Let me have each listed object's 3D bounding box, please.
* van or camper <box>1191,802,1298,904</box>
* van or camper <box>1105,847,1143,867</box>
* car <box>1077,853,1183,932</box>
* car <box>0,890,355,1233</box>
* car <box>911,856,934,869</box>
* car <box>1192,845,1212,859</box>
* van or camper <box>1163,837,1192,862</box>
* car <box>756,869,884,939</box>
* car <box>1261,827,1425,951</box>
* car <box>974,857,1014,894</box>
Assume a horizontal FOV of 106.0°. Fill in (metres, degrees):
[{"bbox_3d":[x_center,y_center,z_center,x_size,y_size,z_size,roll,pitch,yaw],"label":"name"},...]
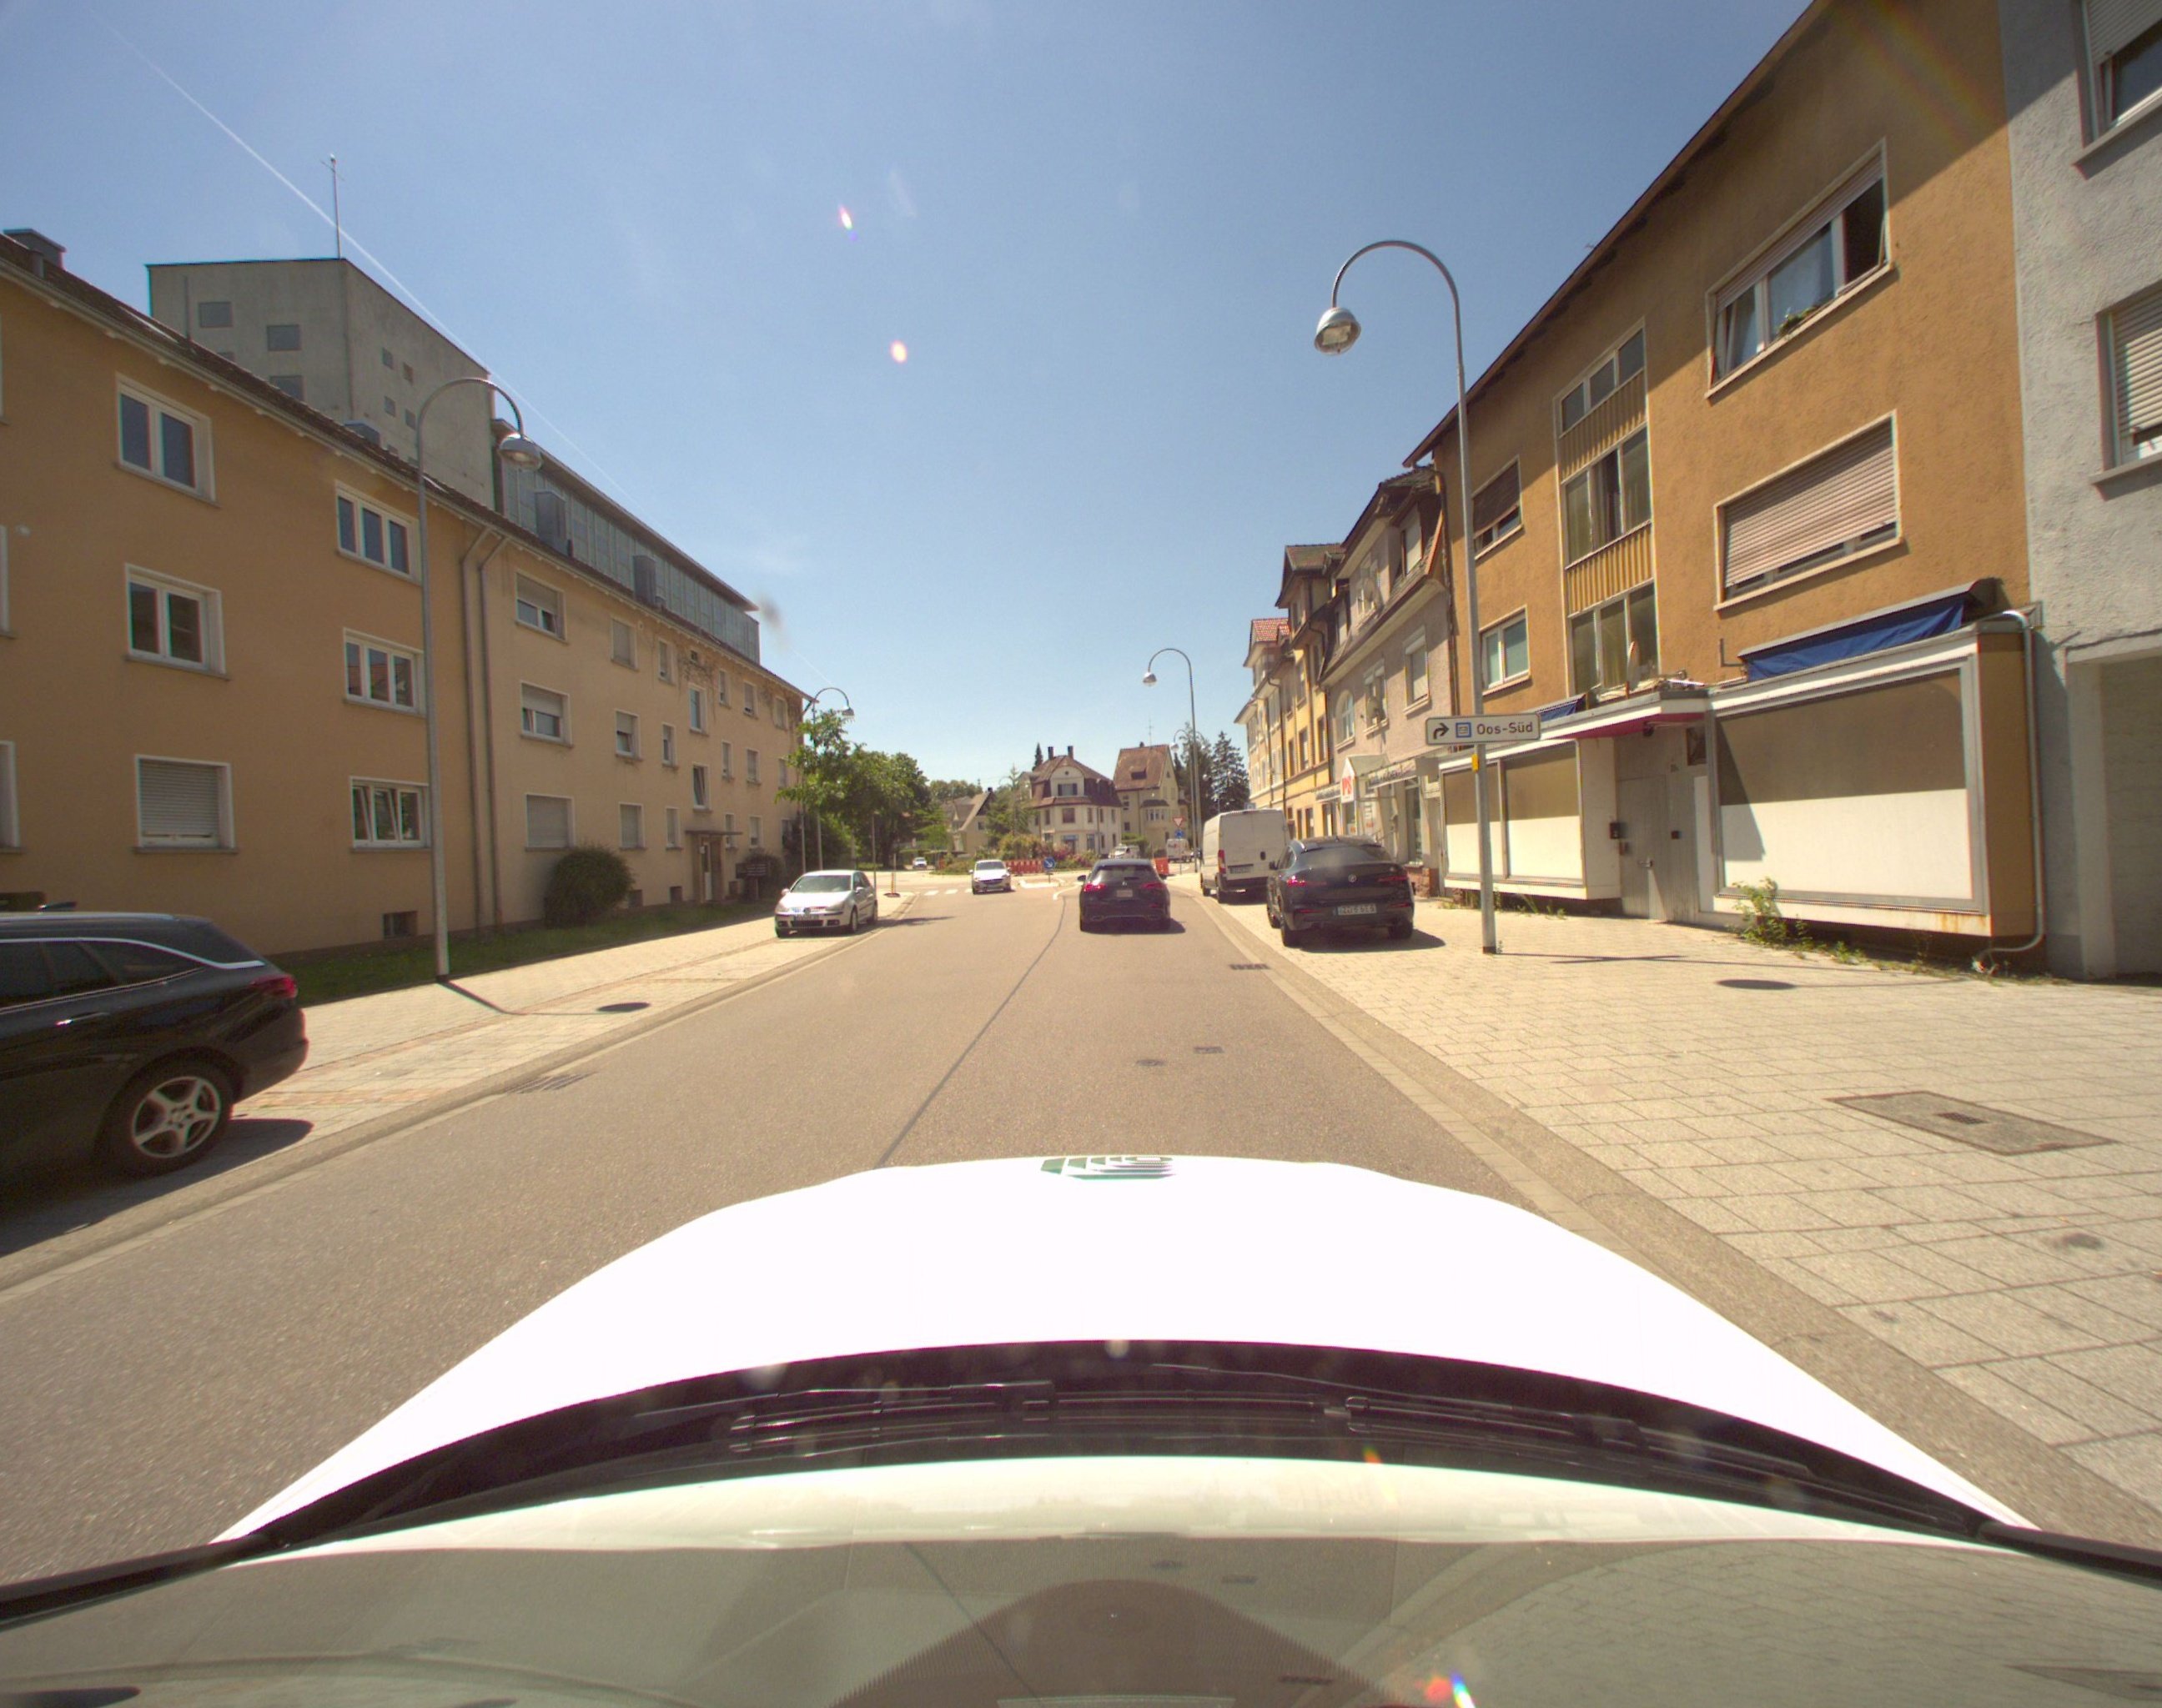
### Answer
[{"bbox_3d":[4.787,-0.028,24.739,2.156,2.588,5.769,-4,0,2],"label":"van or camper"},{"bbox_3d":[4.883,0.338,90.609,1.974,2.172,5.446,-1,-1,29],"label":"van or camper"},{"bbox_3d":[0.970,0.744,17.329,1.946,1.427,4.001,-2,-1,1],"label":"car"},{"bbox_3d":[-5.982,1.034,3.374,1.851,1.506,4.561,-1,0,-1],"label":"car"},{"bbox_3d":[-21.720,1.164,111.647,1.773,1.597,3.932,-2,-2,11],"label":"car"},{"bbox_3d":[16.581,-0.291,111.411,1.904,1.772,4.021,-1,0,20],"label":"car"},{"bbox_3d":[10.510,-0.491,88.296,2.187,2.610,4.020,-2,0,19],"label":"van or camper"},{"bbox_3d":[-6.160,1.124,19.763,1.990,1.420,4.082,-2,0,-4],"label":"car"},{"bbox_3d":[4.104,0.491,13.482,1.884,1.607,4.376,-4,-1,10],"label":"car"},{"bbox_3d":[-3.973,0.935,36.838,1.658,1.496,3.750,-3,0,-7],"label":"car"}]
